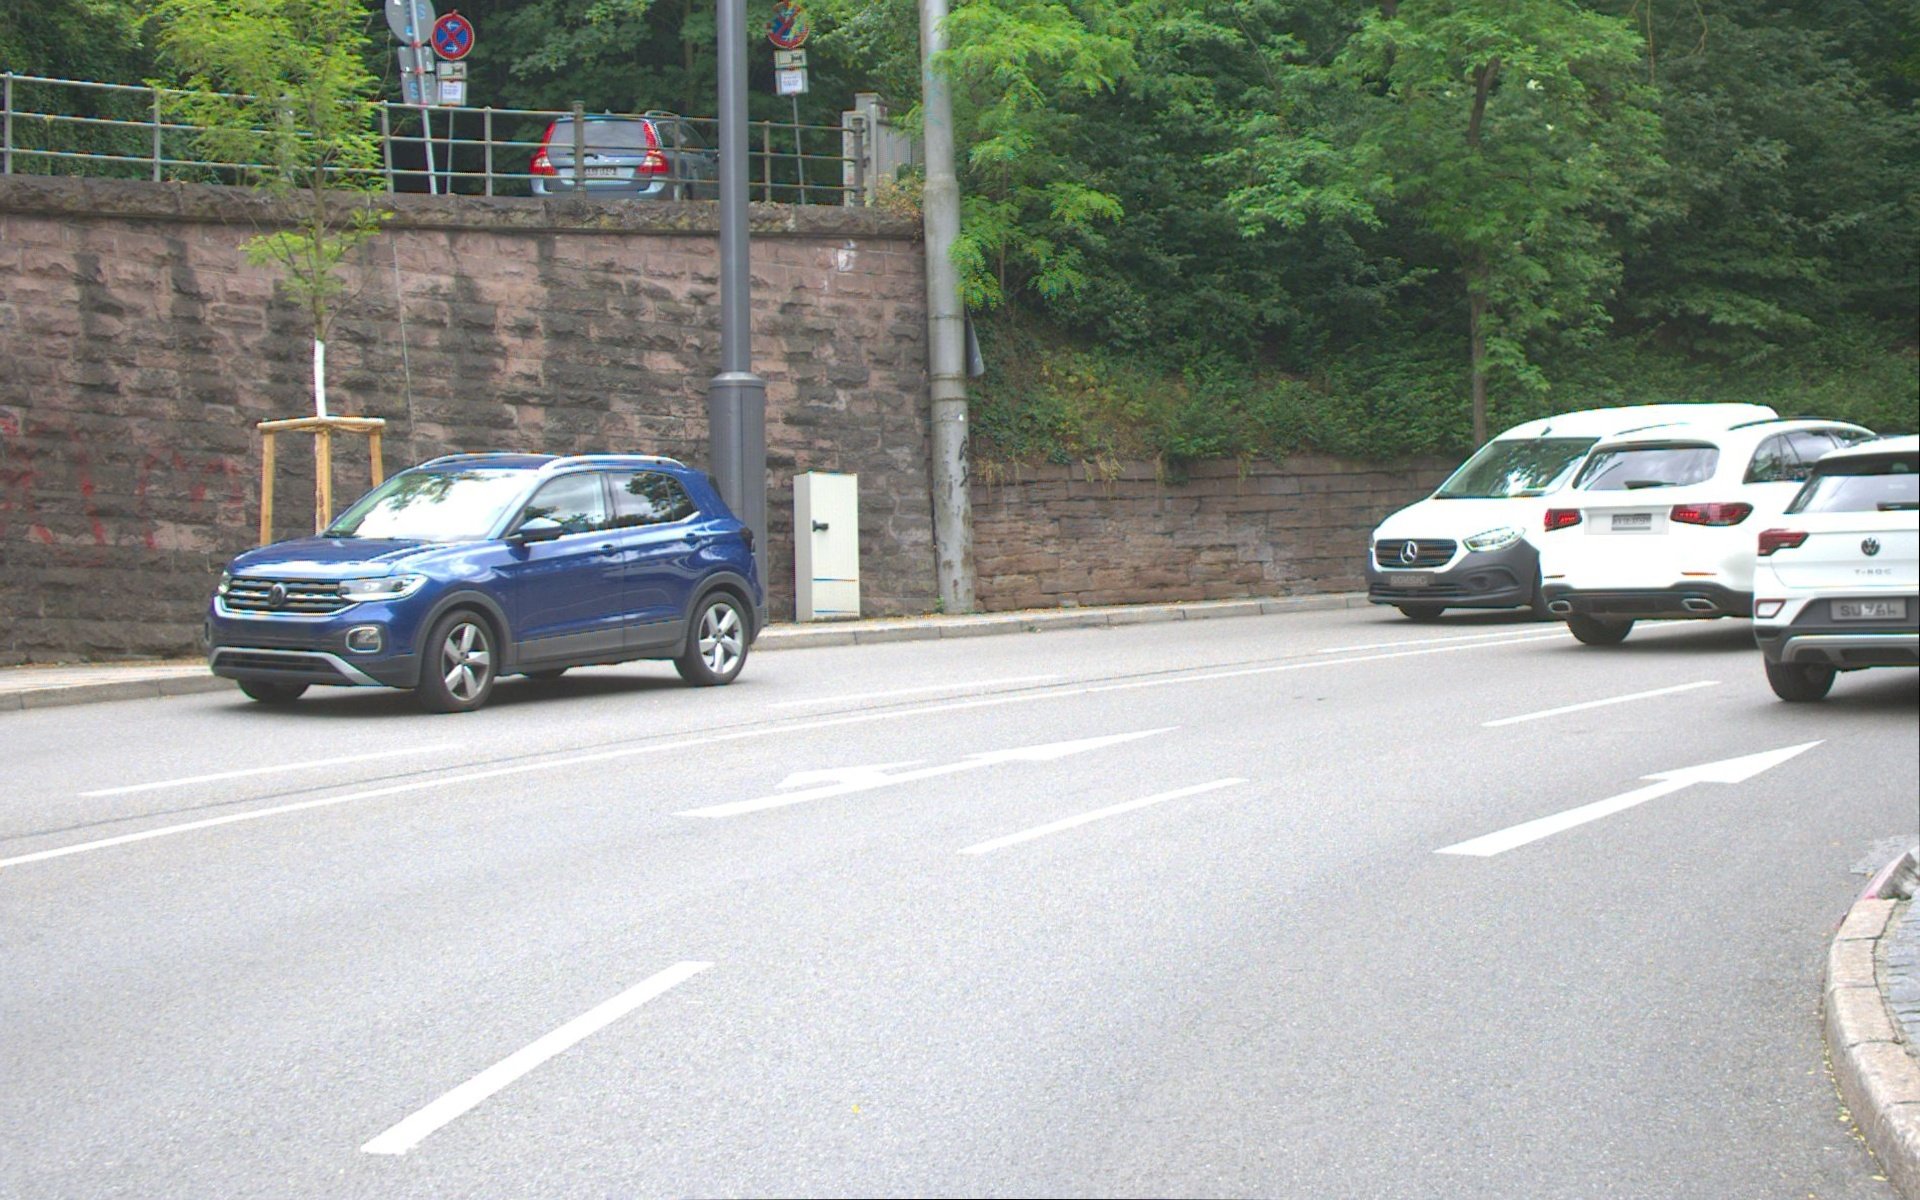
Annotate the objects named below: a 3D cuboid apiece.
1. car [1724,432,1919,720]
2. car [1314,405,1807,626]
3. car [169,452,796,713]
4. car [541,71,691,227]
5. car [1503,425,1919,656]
[{"bbox_3d":[6.394,-0.244,20.769,1.758,1.547,4.328,1,4,38],"label":"car"},{"bbox_3d":[5.420,-0.823,30.688,4.657,1.757,1.827,-4,5,-41],"label":"car"},{"bbox_3d":[-2.989,-0.185,22.373,1.729,1.522,4.194,2,3,33],"label":"car"},{"bbox_3d":[-4.108,-5.398,41.488,1.677,1.375,3.736,0,0,-4],"label":"car"},{"bbox_3d":[6.143,-0.518,26.291,1.863,1.600,4.661,1,3,39],"label":"car"}]
